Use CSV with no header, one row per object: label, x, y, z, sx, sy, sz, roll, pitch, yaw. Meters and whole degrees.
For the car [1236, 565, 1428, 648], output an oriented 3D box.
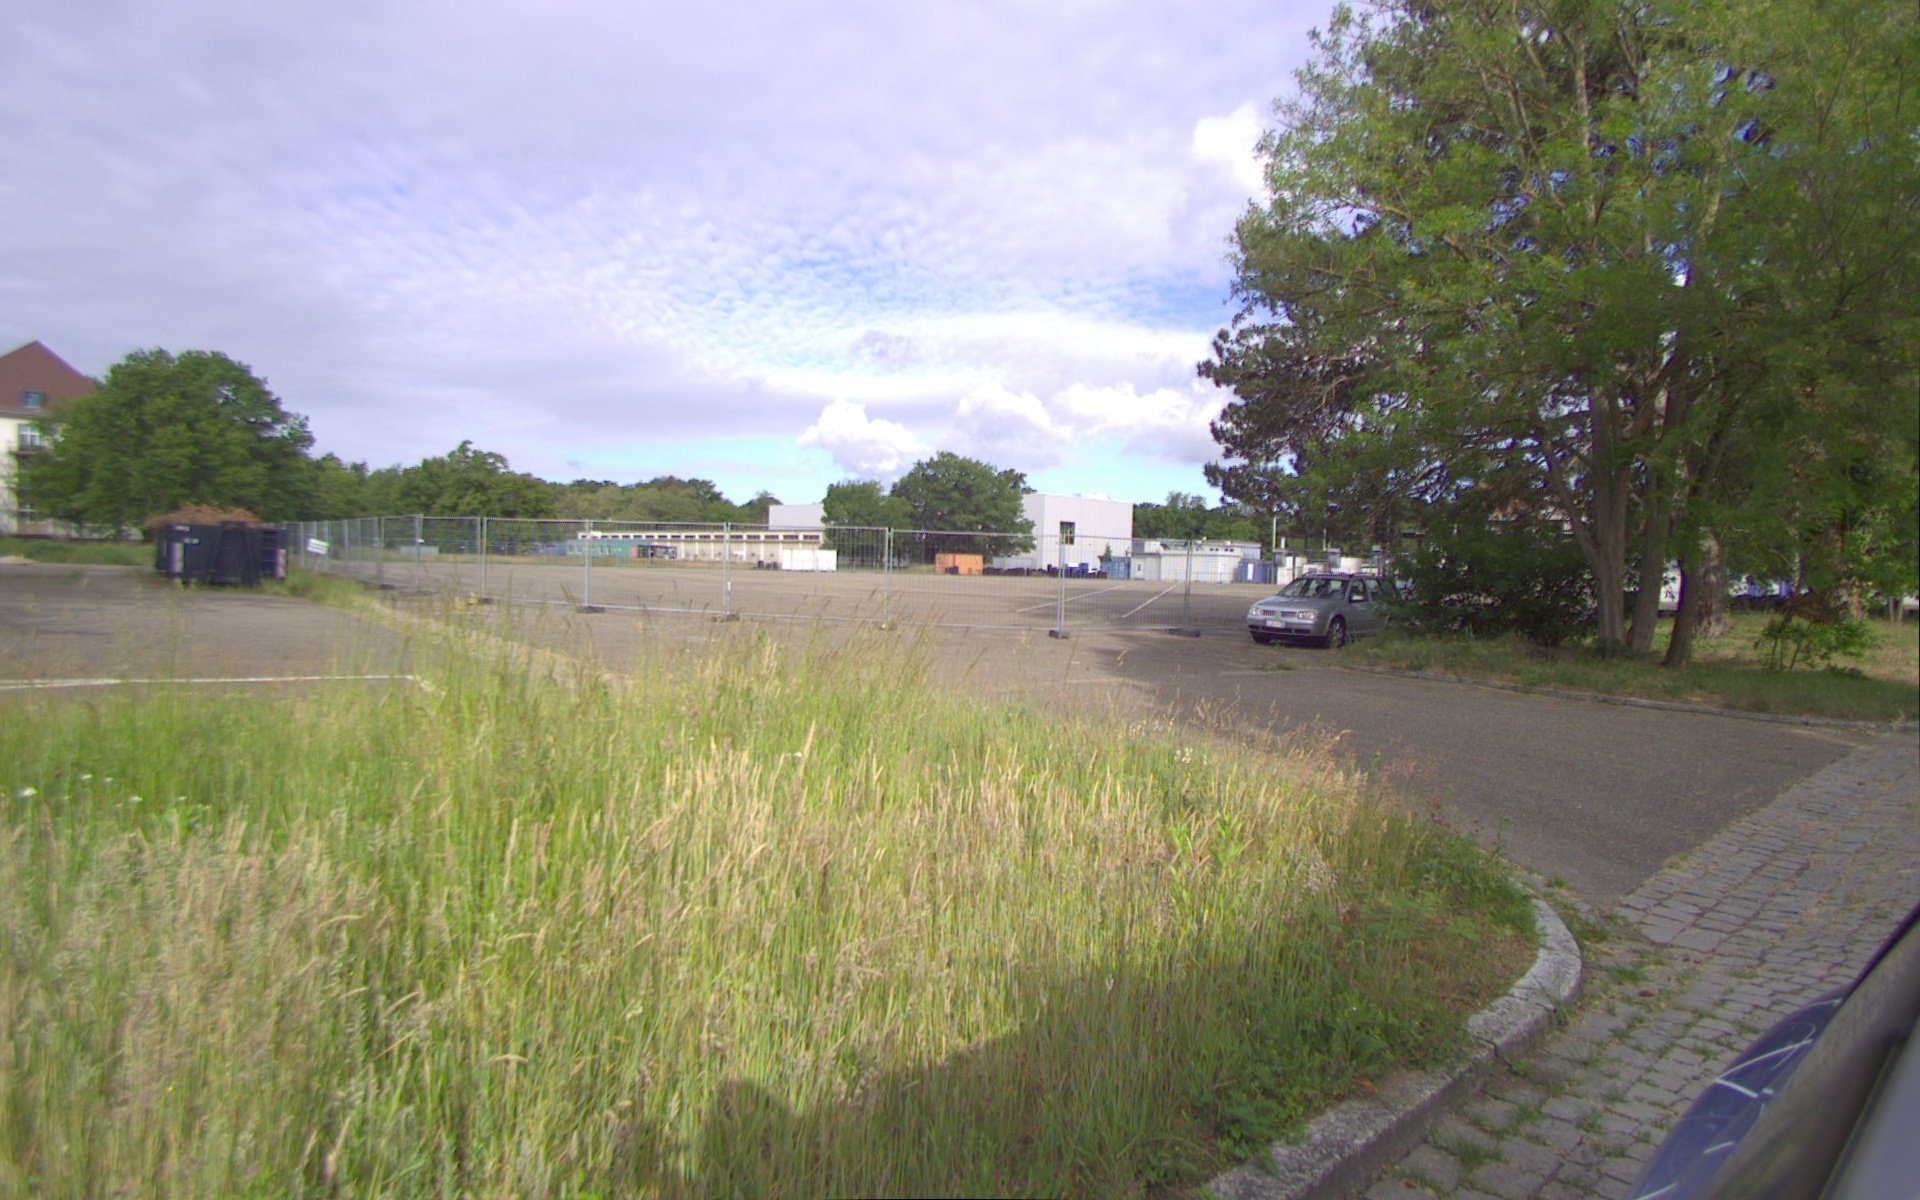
car,7.596,0.098,20.489,4.250,1.466,1.759,0,3,-40
